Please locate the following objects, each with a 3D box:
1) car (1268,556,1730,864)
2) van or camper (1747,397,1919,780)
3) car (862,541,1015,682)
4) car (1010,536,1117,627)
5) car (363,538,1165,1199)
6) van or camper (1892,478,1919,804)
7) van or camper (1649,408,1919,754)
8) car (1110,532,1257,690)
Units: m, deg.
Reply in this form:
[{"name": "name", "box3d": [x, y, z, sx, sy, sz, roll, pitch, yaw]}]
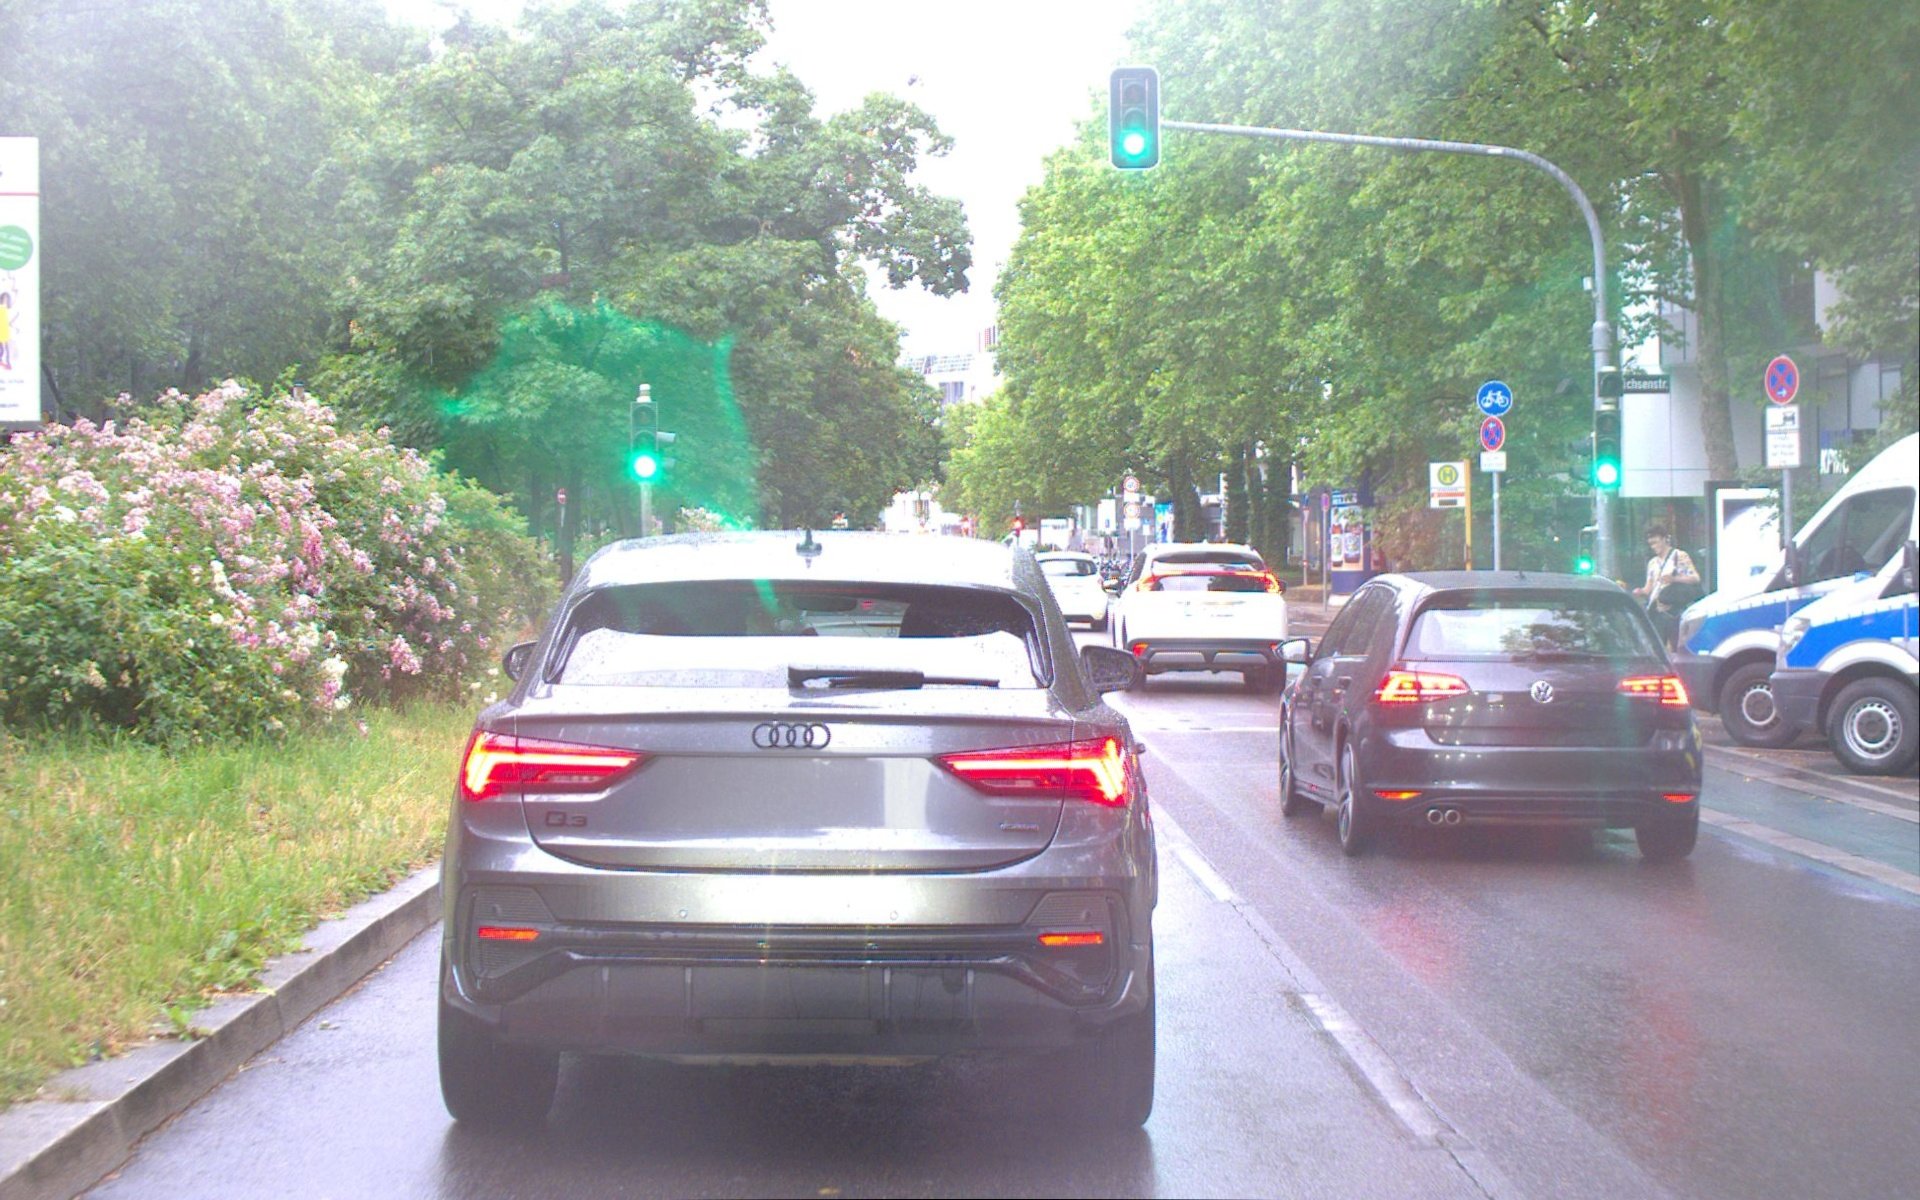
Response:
[{"name": "car", "box3d": [2.742, 0.496, 18.341, 1.765, 1.408, 4.000, -1, 1, -1]}, {"name": "van or camper", "box3d": [8.602, -0.089, 23.844, 5.805, 2.671, 1.996, 0, 1, 35]}, {"name": "car", "box3d": [-0.267, 0.098, 40.877, 1.721, 1.572, 3.962, 0, 1, -1]}, {"name": "car", "box3d": [2.053, -0.390, 69.017, 1.993, 1.744, 4.000, -1, 1, 0]}, {"name": "car", "box3d": [-0.426, 0.587, 10.254, 1.863, 1.527, 4.527, 0, 1, 1]}, {"name": "van or camper", "box3d": [8.387, 0.256, 20.641, 5.010, 2.007, 1.996, 0, 0, 35]}, {"name": "van or camper", "box3d": [8.557, -0.154, 27.036, 5.810, 2.668, 2.143, 1, 1, 37]}, {"name": "car", "box3d": [2.478, 0.087, 38.614, 1.433, 1.679, 2.979, -1, 1, 0]}]
